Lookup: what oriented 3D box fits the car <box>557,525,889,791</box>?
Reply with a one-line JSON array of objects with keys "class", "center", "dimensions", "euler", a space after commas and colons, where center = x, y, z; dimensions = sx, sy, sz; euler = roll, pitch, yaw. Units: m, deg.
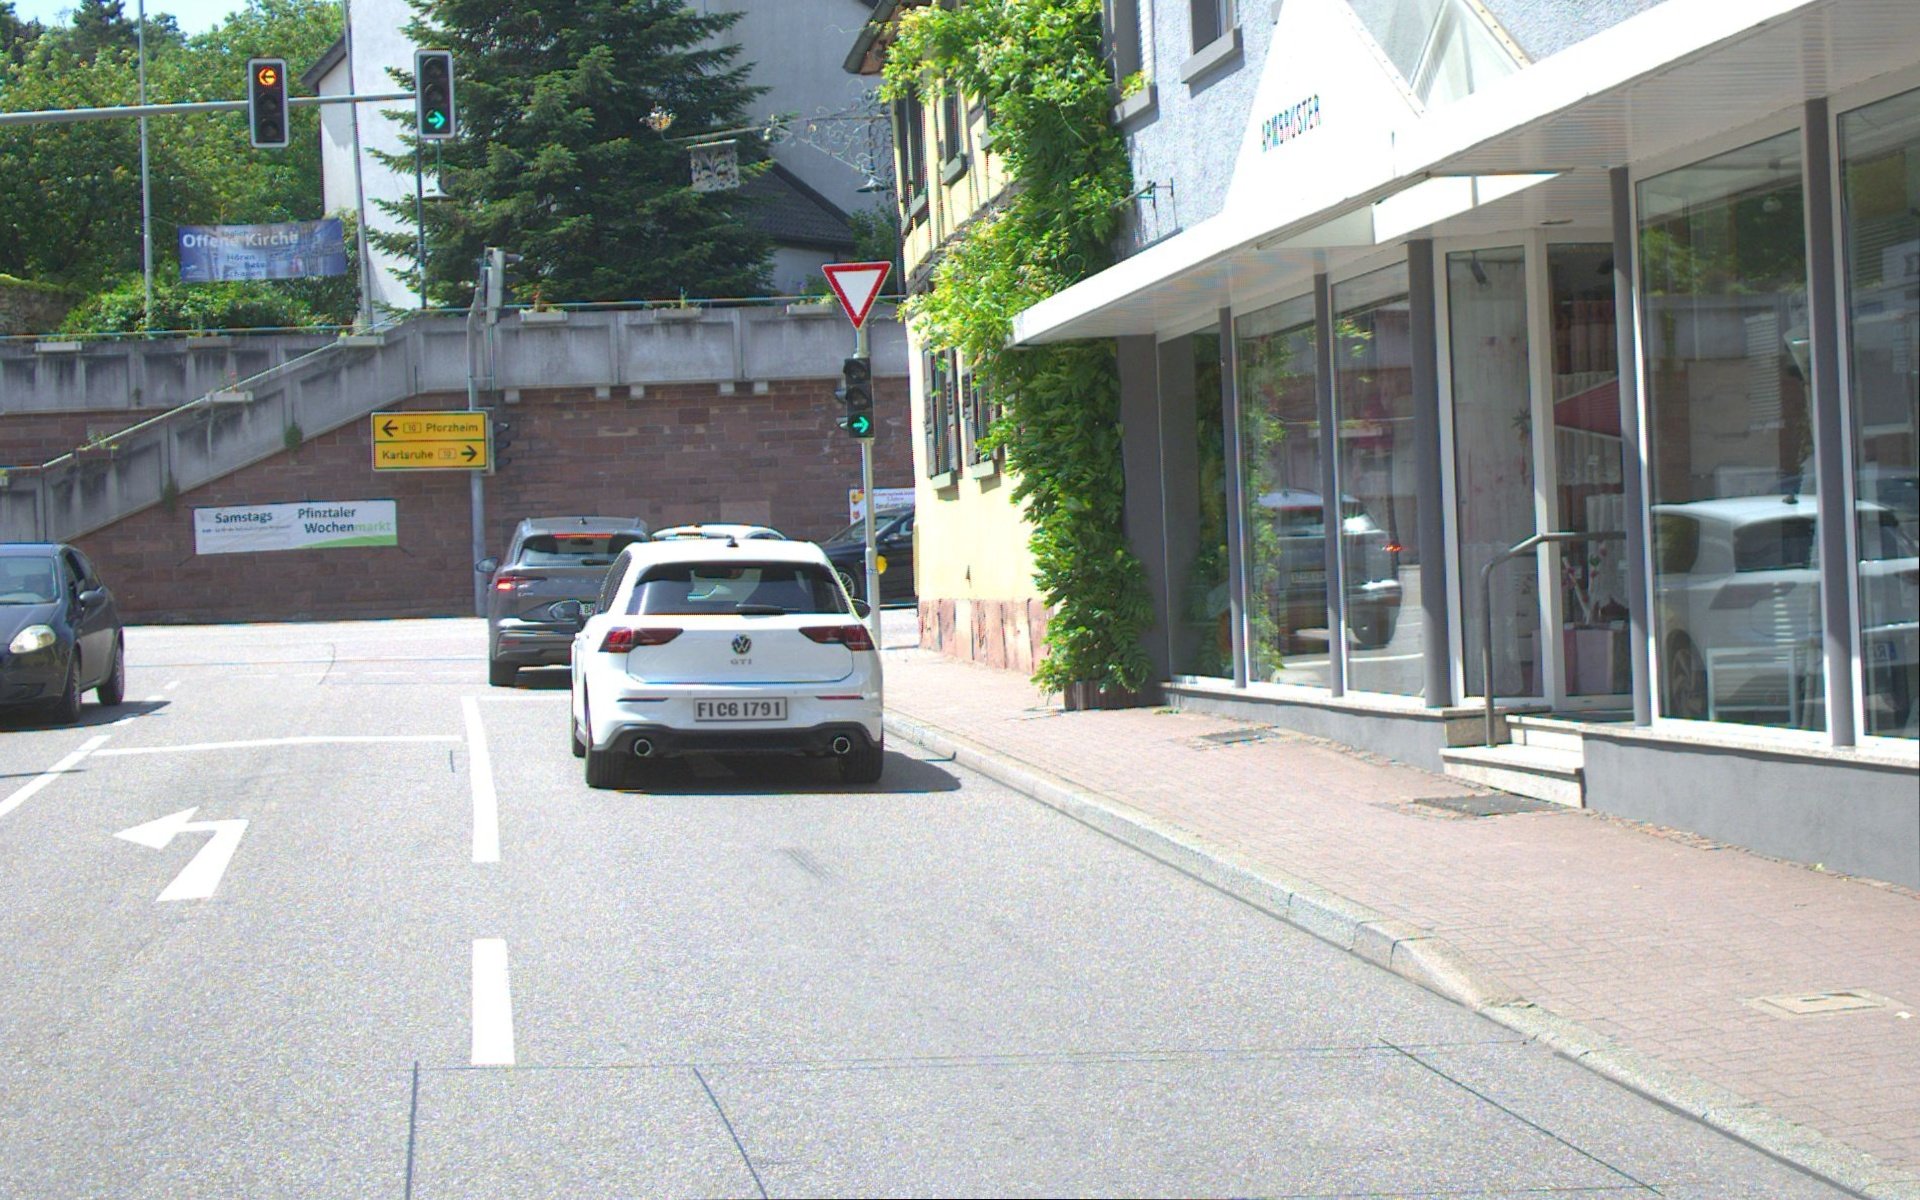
[{"class": "car", "center": [-1.565, 0.300, 21.440], "dimensions": [1.782, 1.453, 3.864], "euler": [-2, 1, -7]}]

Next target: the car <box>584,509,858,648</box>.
[{"class": "car", "center": [-2.857, -0.297, 42.037], "dimensions": [1.772, 1.491, 3.984], "euler": [0, 3, 21]}]

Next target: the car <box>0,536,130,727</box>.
[{"class": "car", "center": [-8.130, 0.249, 28.981], "dimensions": [1.717, 1.418, 3.821], "euler": [-3, 2, -7]}]

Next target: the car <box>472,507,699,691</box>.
[{"class": "car", "center": [-3.779, -0.070, 34.113], "dimensions": [1.949, 1.577, 4.327], "euler": [-2, 3, -10]}]

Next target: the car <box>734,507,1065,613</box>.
[{"class": "car", "center": [-0.919, -0.635, 53.073], "dimensions": [4.781, 1.482, 1.803], "euler": [-2, 2, -28]}]
